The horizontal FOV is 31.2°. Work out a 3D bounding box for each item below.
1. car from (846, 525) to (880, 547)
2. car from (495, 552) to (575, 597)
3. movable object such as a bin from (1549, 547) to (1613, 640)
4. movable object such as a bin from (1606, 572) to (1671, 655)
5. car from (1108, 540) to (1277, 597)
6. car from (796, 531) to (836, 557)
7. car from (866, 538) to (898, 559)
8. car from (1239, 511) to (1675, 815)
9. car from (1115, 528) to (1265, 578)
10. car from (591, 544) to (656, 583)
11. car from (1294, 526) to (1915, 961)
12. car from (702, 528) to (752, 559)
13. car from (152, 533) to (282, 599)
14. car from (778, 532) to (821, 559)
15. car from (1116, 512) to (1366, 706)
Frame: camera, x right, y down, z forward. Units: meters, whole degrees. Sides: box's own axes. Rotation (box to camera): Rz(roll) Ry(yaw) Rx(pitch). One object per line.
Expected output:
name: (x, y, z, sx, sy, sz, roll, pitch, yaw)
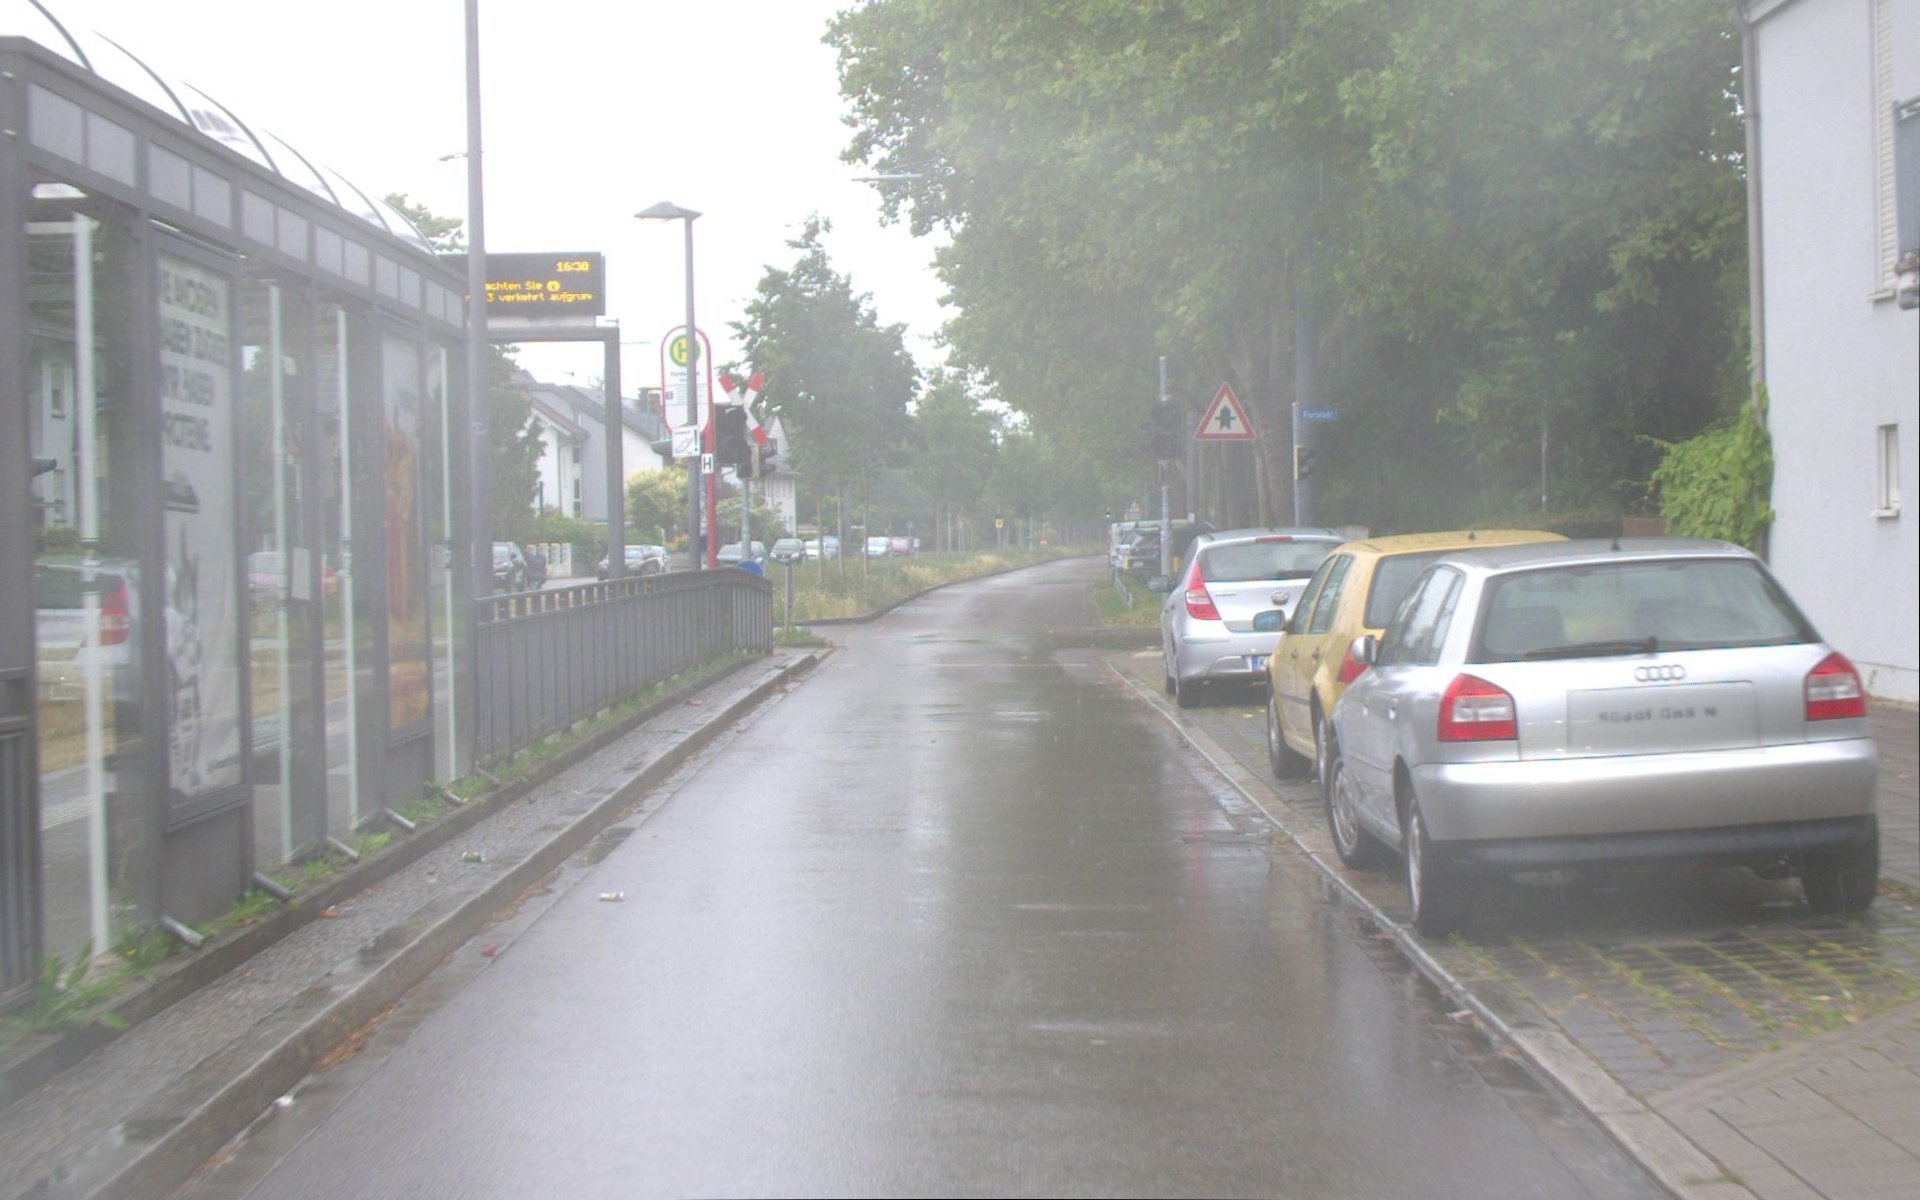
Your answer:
car: (-6.523, -4.298, 231.402, 1.928, 1.481, 4.000, 0, 0, 3)
car: (-13.998, -0.848, 113.517, 1.928, 1.481, 4.000, 0, 0, 3)
movable object such as a bin: (7.036, -0.079, 38.974, 0.536, 1.018, 0.739, -3, 1, 0)
movable object such as a bin: (7.650, 0.152, 38.765, 0.536, 0.896, 0.739, -3, 1, 0)
car: (6.051, -0.817, 89.624, 3.986, 1.448, 2.001, 0, 0, -14)
car: (-8.410, -3.276, 201.333, 1.928, 1.481, 4.000, 0, 0, 3)
car: (-5.545, -3.653, 245.166, 1.928, 1.481, 4.000, 0, 0, 3)
car: (2.642, 0.302, 19.106, 1.807, 1.400, 3.794, -4, 0, 1)
car: (6.764, -1.366, 101.117, 3.986, 1.448, 2.001, 0, 0, -14)
car: (-13.000, -1.396, 132.992, 1.928, 1.481, 4.000, 0, 0, 3)
car: (2.464, 0.482, 14.274, 1.650, 1.400, 4.649, -4, 0, 1)
car: (-11.337, -2.728, 167.609, 1.928, 1.481, 4.000, 0, 0, 3)
car: (-16.997, -0.776, 78.827, 1.928, 1.481, 4.000, 0, 0, 3)
car: (-8.845, -2.999, 189.625, 1.928, 1.481, 4.000, 0, 0, 3)
car: (2.383, 0.058, 29.992, 1.807, 1.462, 3.794, -4, 0, 1)
